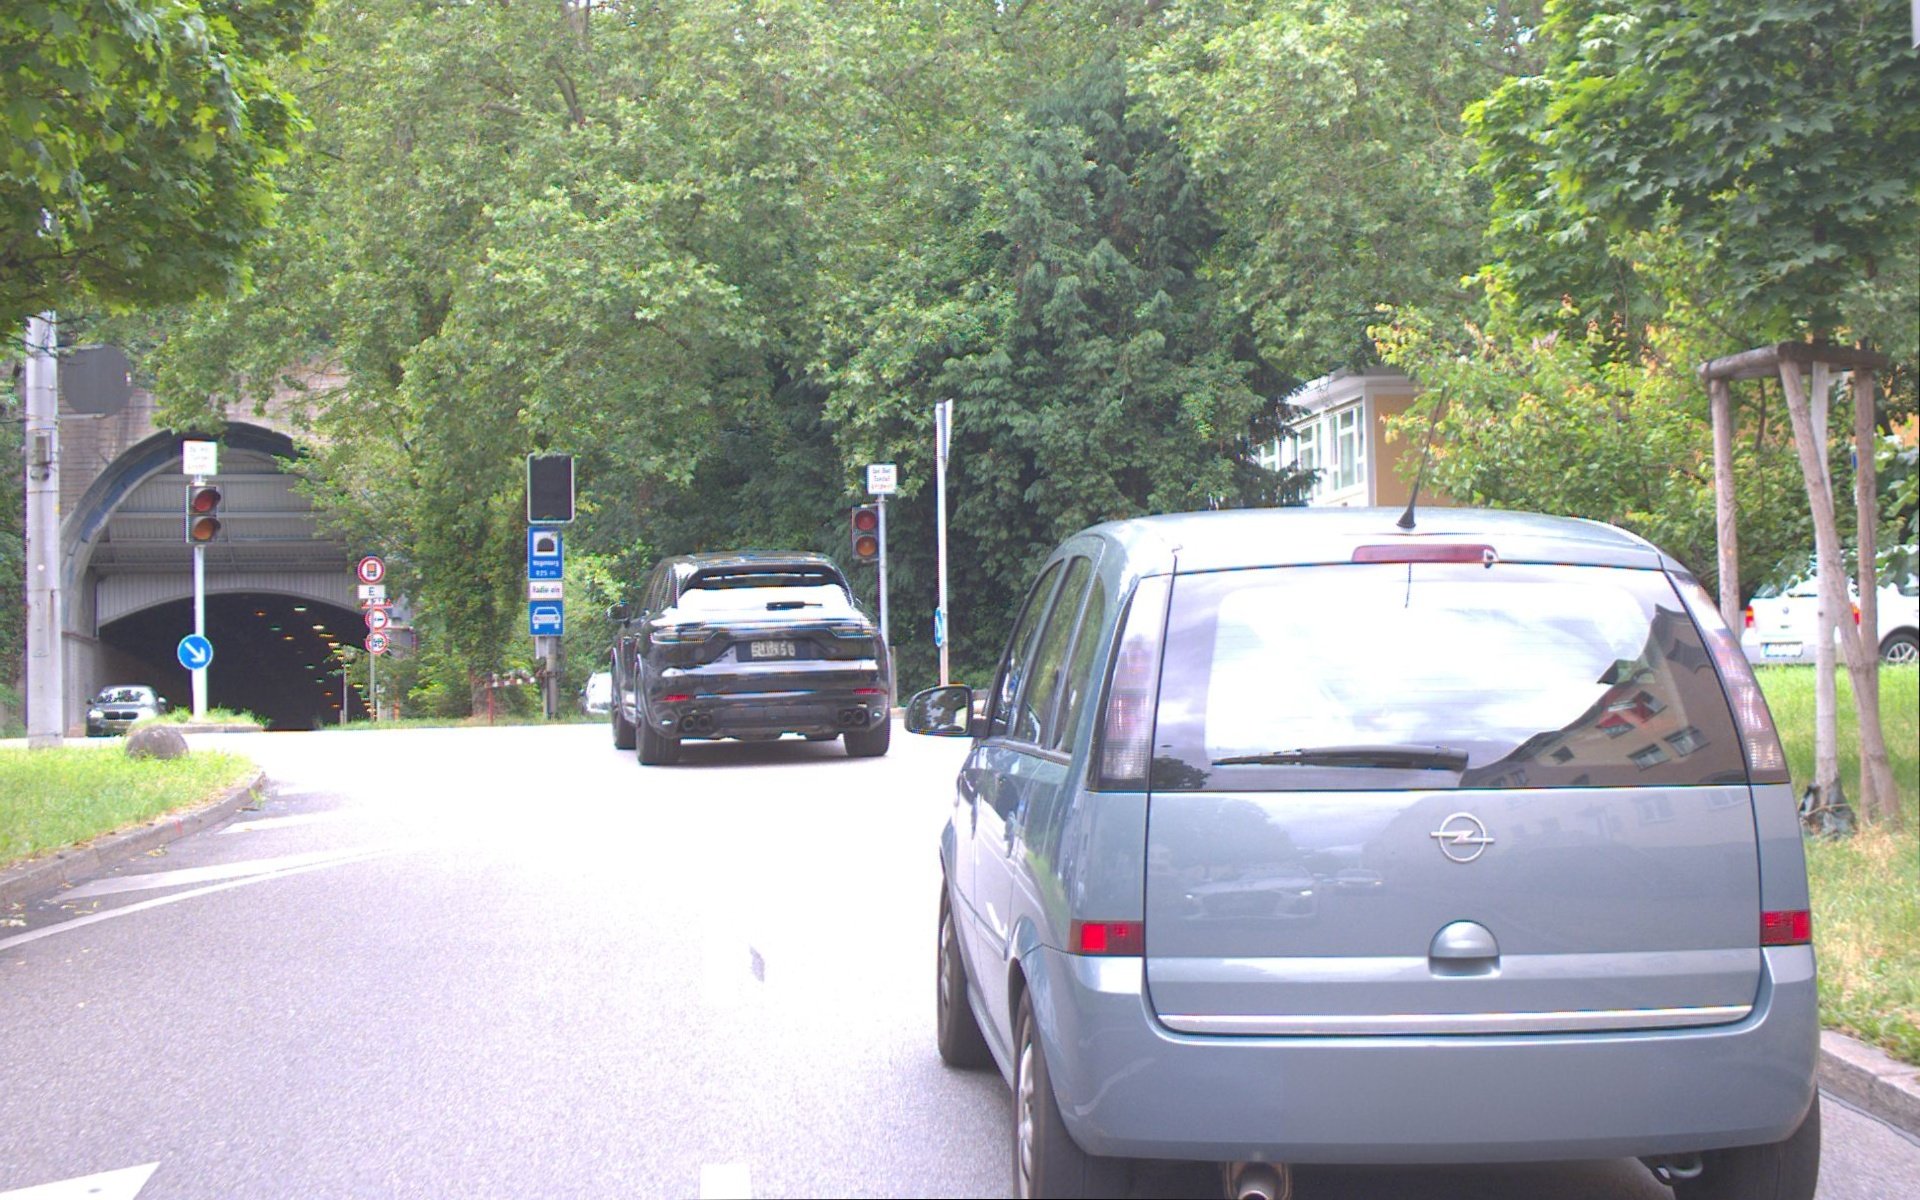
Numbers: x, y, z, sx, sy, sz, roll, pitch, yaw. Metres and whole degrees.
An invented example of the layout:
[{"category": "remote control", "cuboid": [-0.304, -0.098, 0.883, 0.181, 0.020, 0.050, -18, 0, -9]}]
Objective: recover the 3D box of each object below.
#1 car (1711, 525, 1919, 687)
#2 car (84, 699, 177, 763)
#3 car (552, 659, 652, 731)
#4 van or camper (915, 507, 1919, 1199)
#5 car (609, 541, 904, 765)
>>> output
[{"category": "car", "cuboid": [9.473, -0.007, 33.016, 4.116, 1.423, 1.863, -2, 1, -26]}, {"category": "car", "cuboid": [-23.045, 3.639, 95.660, 1.869, 1.693, 4.936, -1, -2, -6]}, {"category": "car", "cuboid": [-7.742, 2.065, 73.983, 1.784, 1.437, 5.063, -2, -2, -9]}, {"category": "van or camper", "cuboid": [0.860, 0.596, 8.417, 1.735, 1.572, 3.646, 1, 1, -4]}, {"category": "car", "cuboid": [-1.748, 0.415, 28.181, 1.993, 1.647, 4.001, -2, 0, -9]}]
